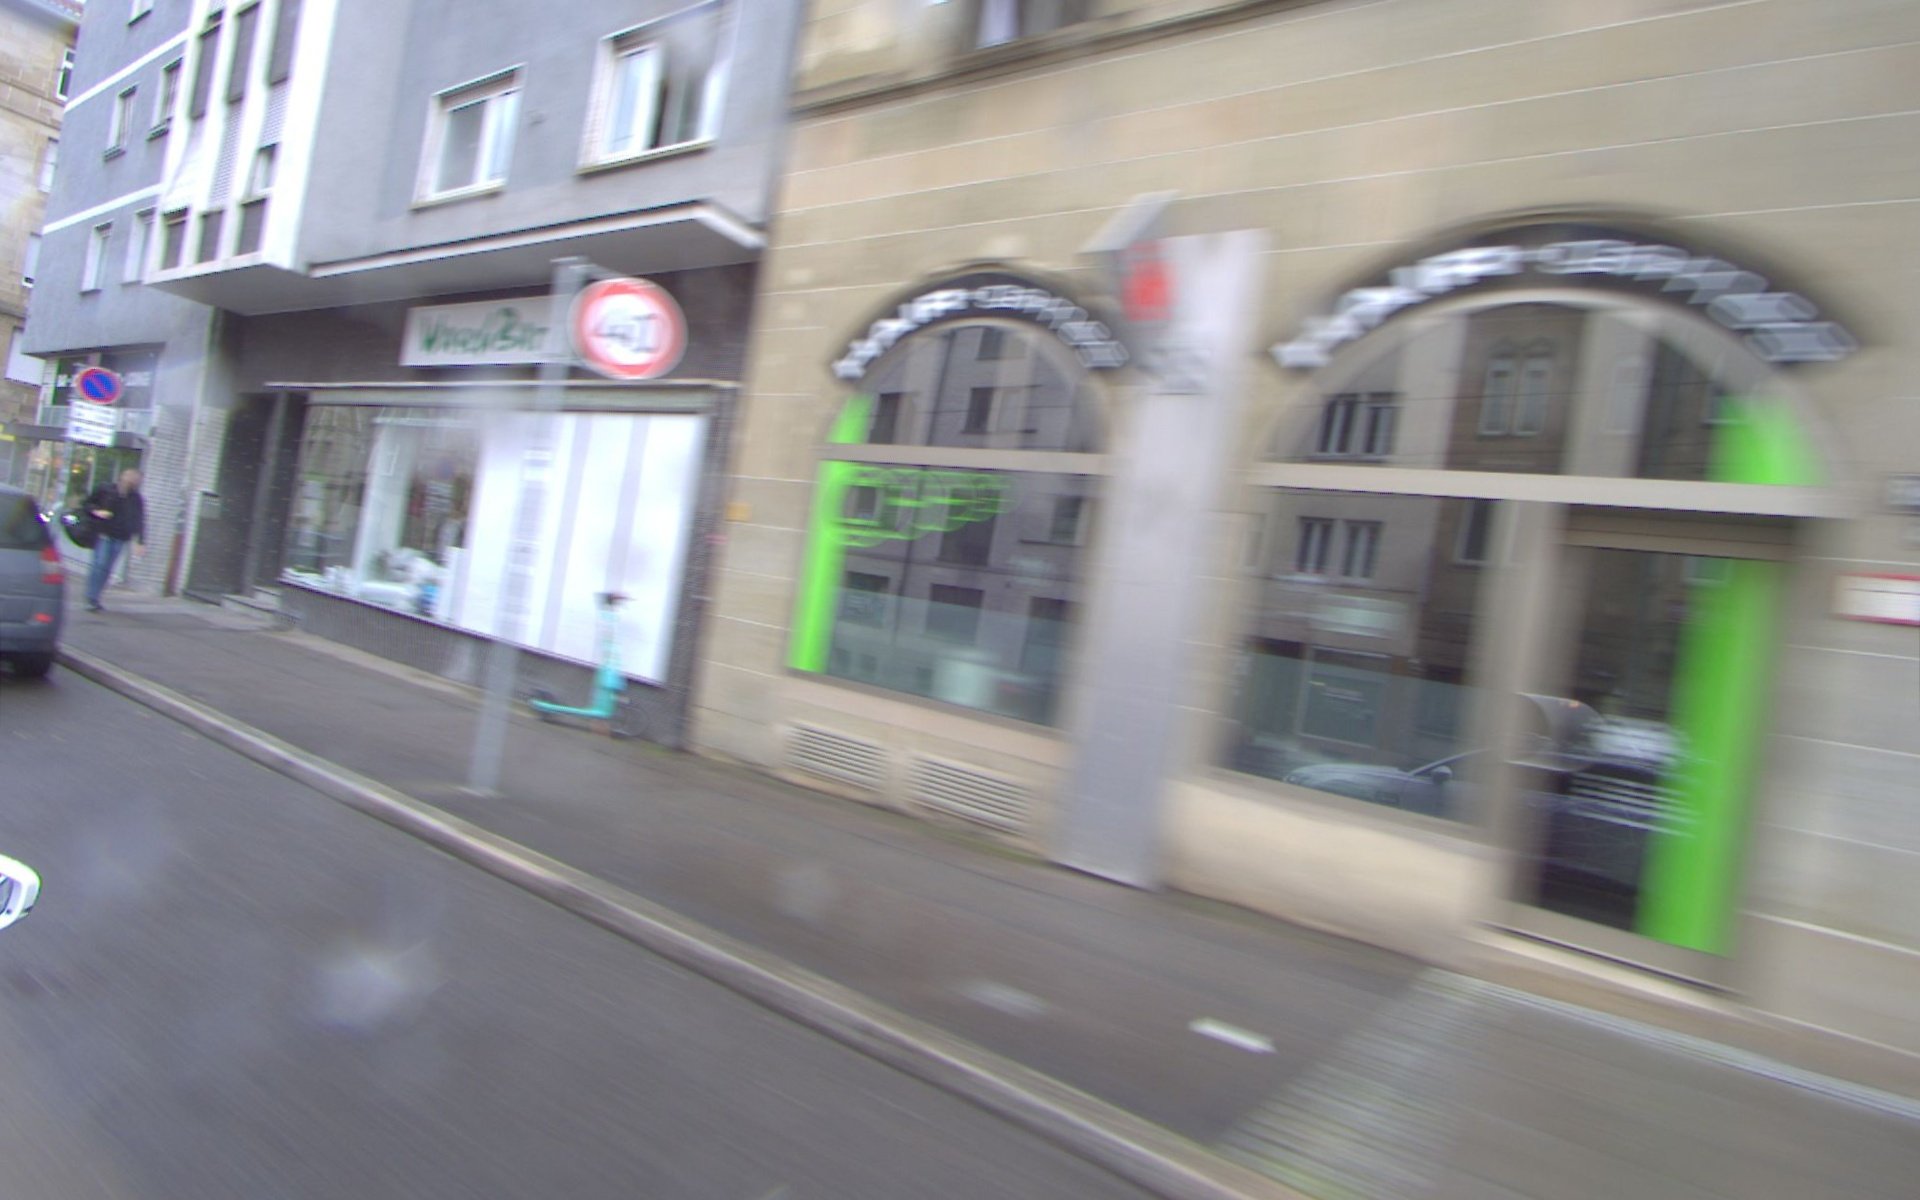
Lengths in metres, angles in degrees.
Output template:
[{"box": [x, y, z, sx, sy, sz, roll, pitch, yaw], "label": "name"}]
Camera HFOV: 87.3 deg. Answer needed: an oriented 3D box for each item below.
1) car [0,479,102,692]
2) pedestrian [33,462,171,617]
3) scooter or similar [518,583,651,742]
[{"box": [-9.274, -0.365, 8.630, 4.672, 1.577, 1.766, 7, -1, 36], "label": "car"}, {"box": [-10.947, -0.764, 12.845, 0.999, 1.790, 0.946, 8, -1, 34], "label": "pedestrian"}, {"box": [-3.314, 0.534, 8.852, 1.089, 1.230, 0.395, 7, 0, 34], "label": "scooter or similar"}]
